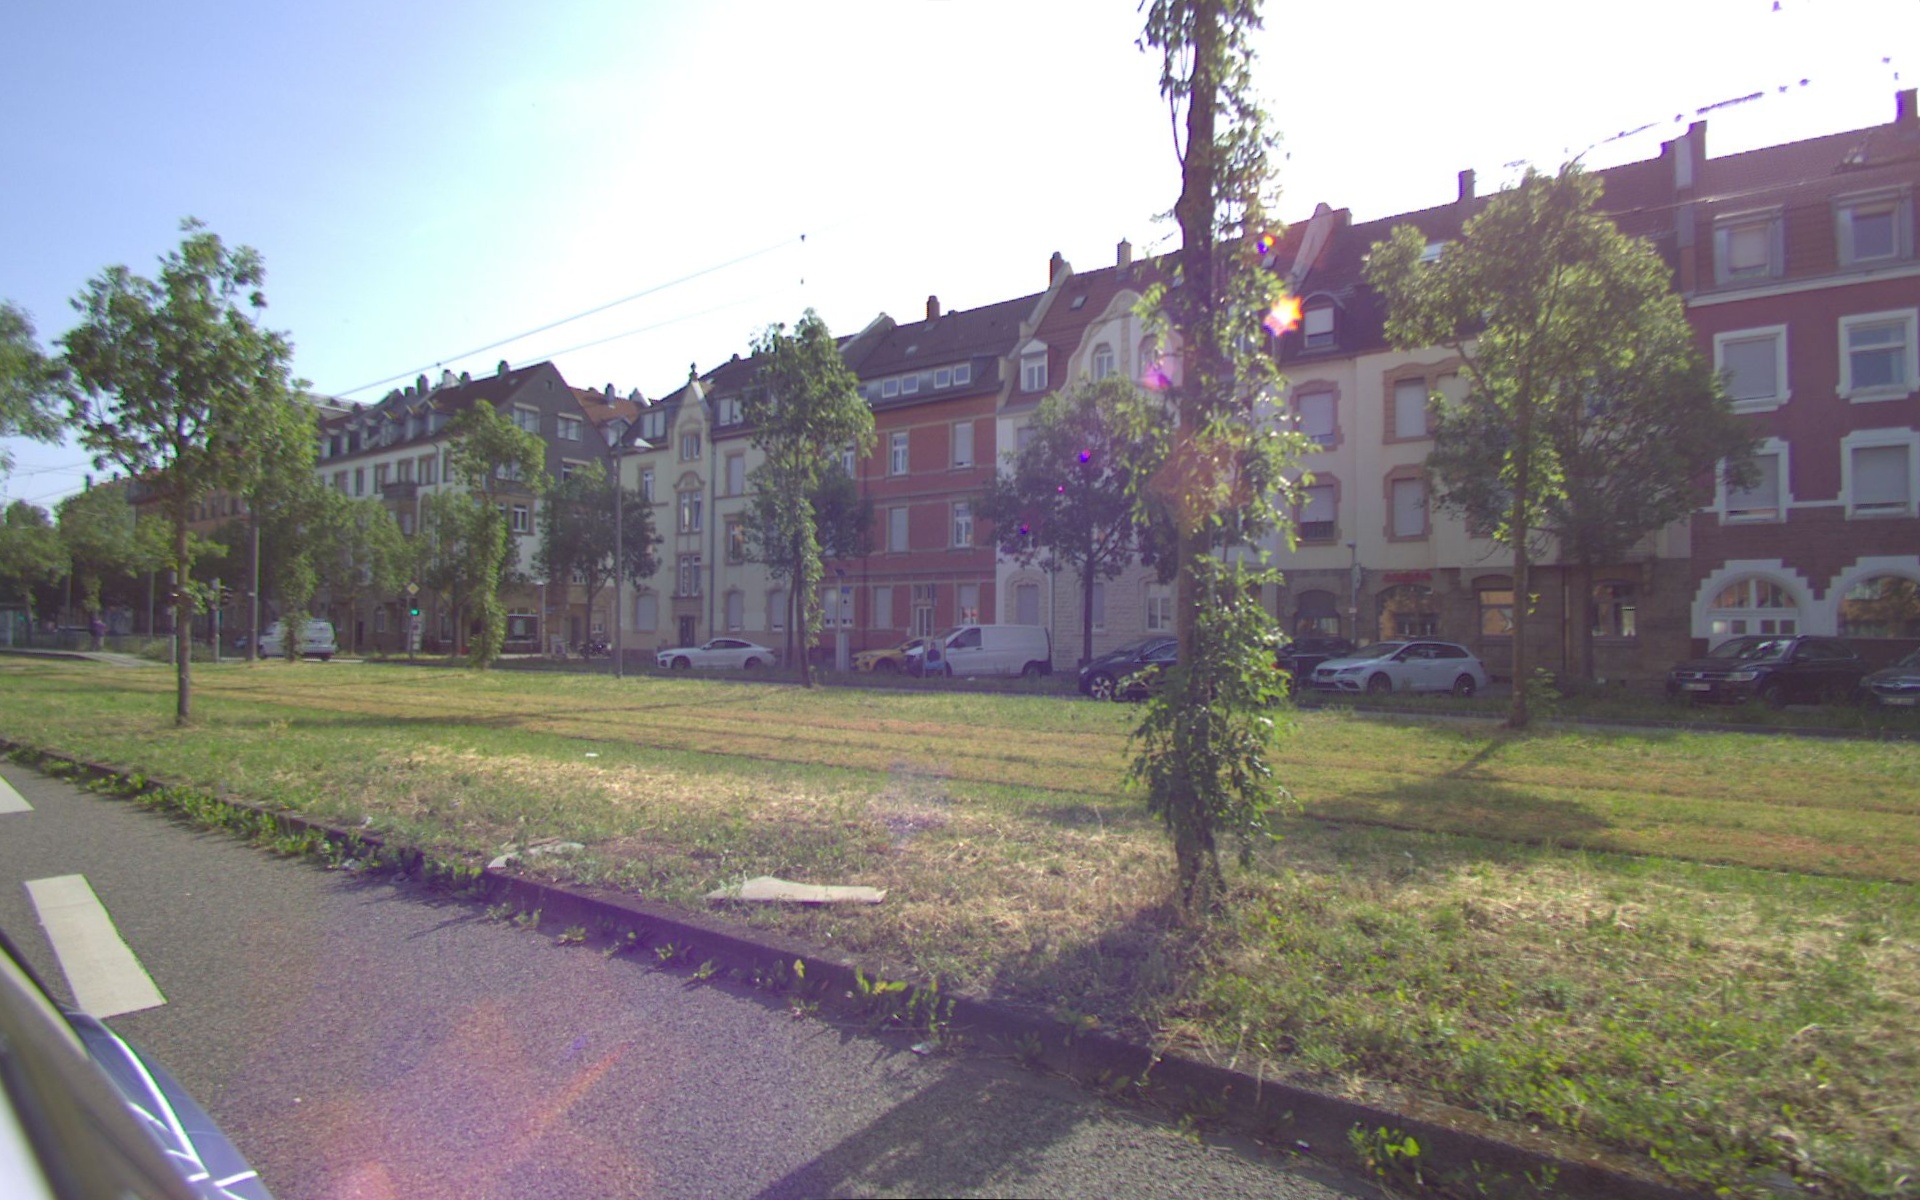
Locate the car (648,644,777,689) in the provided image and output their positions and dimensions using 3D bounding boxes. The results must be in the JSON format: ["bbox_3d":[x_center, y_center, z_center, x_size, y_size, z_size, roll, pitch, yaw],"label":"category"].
[{"bbox_3d":[-9.799,2.609,40.067,4.695,1.496,2.030,-1,0,-22],"label":"car"}]

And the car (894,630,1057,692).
[{"bbox_3d":[0.490,1.916,32.501,4.867,1.739,1.863,-1,0,-20],"label":"car"}]

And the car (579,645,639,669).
[{"bbox_3d":[-22.599,3.644,65.060,3.992,1.423,1.653,-1,-3,36],"label":"car"}]

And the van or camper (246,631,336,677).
[{"bbox_3d":[-33.273,2.627,50.279,5.341,2.113,1.934,-1,0,36],"label":"van or camper"}]

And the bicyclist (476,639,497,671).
[{"bbox_3d":[-24.340,2.834,52.023,0.835,1.570,0.905,-1,0,-32],"label":"bicyclist"}]

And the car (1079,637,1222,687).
[{"bbox_3d":[5.314,1.711,28.302,3.623,1.251,1.530,-1,-3,-20],"label":"car"}]

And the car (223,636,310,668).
[{"bbox_3d":[-42.083,3.111,61.509,3.931,1.739,2.006,-1,0,-20],"label":"car"}]

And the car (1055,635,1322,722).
[{"bbox_3d":[4.914,1.641,22.149,5.367,1.642,1.976,-1,-4,35],"label":"car"}]

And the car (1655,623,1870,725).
[{"bbox_3d":[16.421,1.411,20.664,4.569,1.756,1.839,-1,0,-30],"label":"car"}]

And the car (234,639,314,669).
[{"bbox_3d":[-44.662,3.479,66.010,3.931,1.739,2.006,-1,0,-20],"label":"car"}]

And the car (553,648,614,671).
[{"bbox_3d":[-23.664,3.739,63.559,3.992,1.309,1.653,-1,-3,36],"label":"car"}]

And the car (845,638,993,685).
[{"bbox_3d":[-1.394,2.031,34.252,4.619,1.358,1.863,-1,0,-20],"label":"car"}]

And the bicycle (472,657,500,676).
[{"bbox_3d":[-24.368,3.420,51.988,0.844,0.872,2.023,-1,0,-39],"label":"bicycle"}]

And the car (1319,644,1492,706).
[{"bbox_3d":[10.694,1.762,24.326,3.623,1.251,1.667,-1,0,-20],"label":"car"}]

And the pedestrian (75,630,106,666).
[{"bbox_3d":[-42.040,2.316,48.941,0.850,1.667,0.877,-1,-3,33],"label":"pedestrian"}]

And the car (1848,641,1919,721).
[{"bbox_3d":[17.825,1.392,17.921,3.623,1.251,1.668,-1,0,-22],"label":"car"}]

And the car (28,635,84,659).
[{"bbox_3d":[-60.002,3.087,67.140,4.567,1.544,1.818,-1,-2,36],"label":"car"}]
